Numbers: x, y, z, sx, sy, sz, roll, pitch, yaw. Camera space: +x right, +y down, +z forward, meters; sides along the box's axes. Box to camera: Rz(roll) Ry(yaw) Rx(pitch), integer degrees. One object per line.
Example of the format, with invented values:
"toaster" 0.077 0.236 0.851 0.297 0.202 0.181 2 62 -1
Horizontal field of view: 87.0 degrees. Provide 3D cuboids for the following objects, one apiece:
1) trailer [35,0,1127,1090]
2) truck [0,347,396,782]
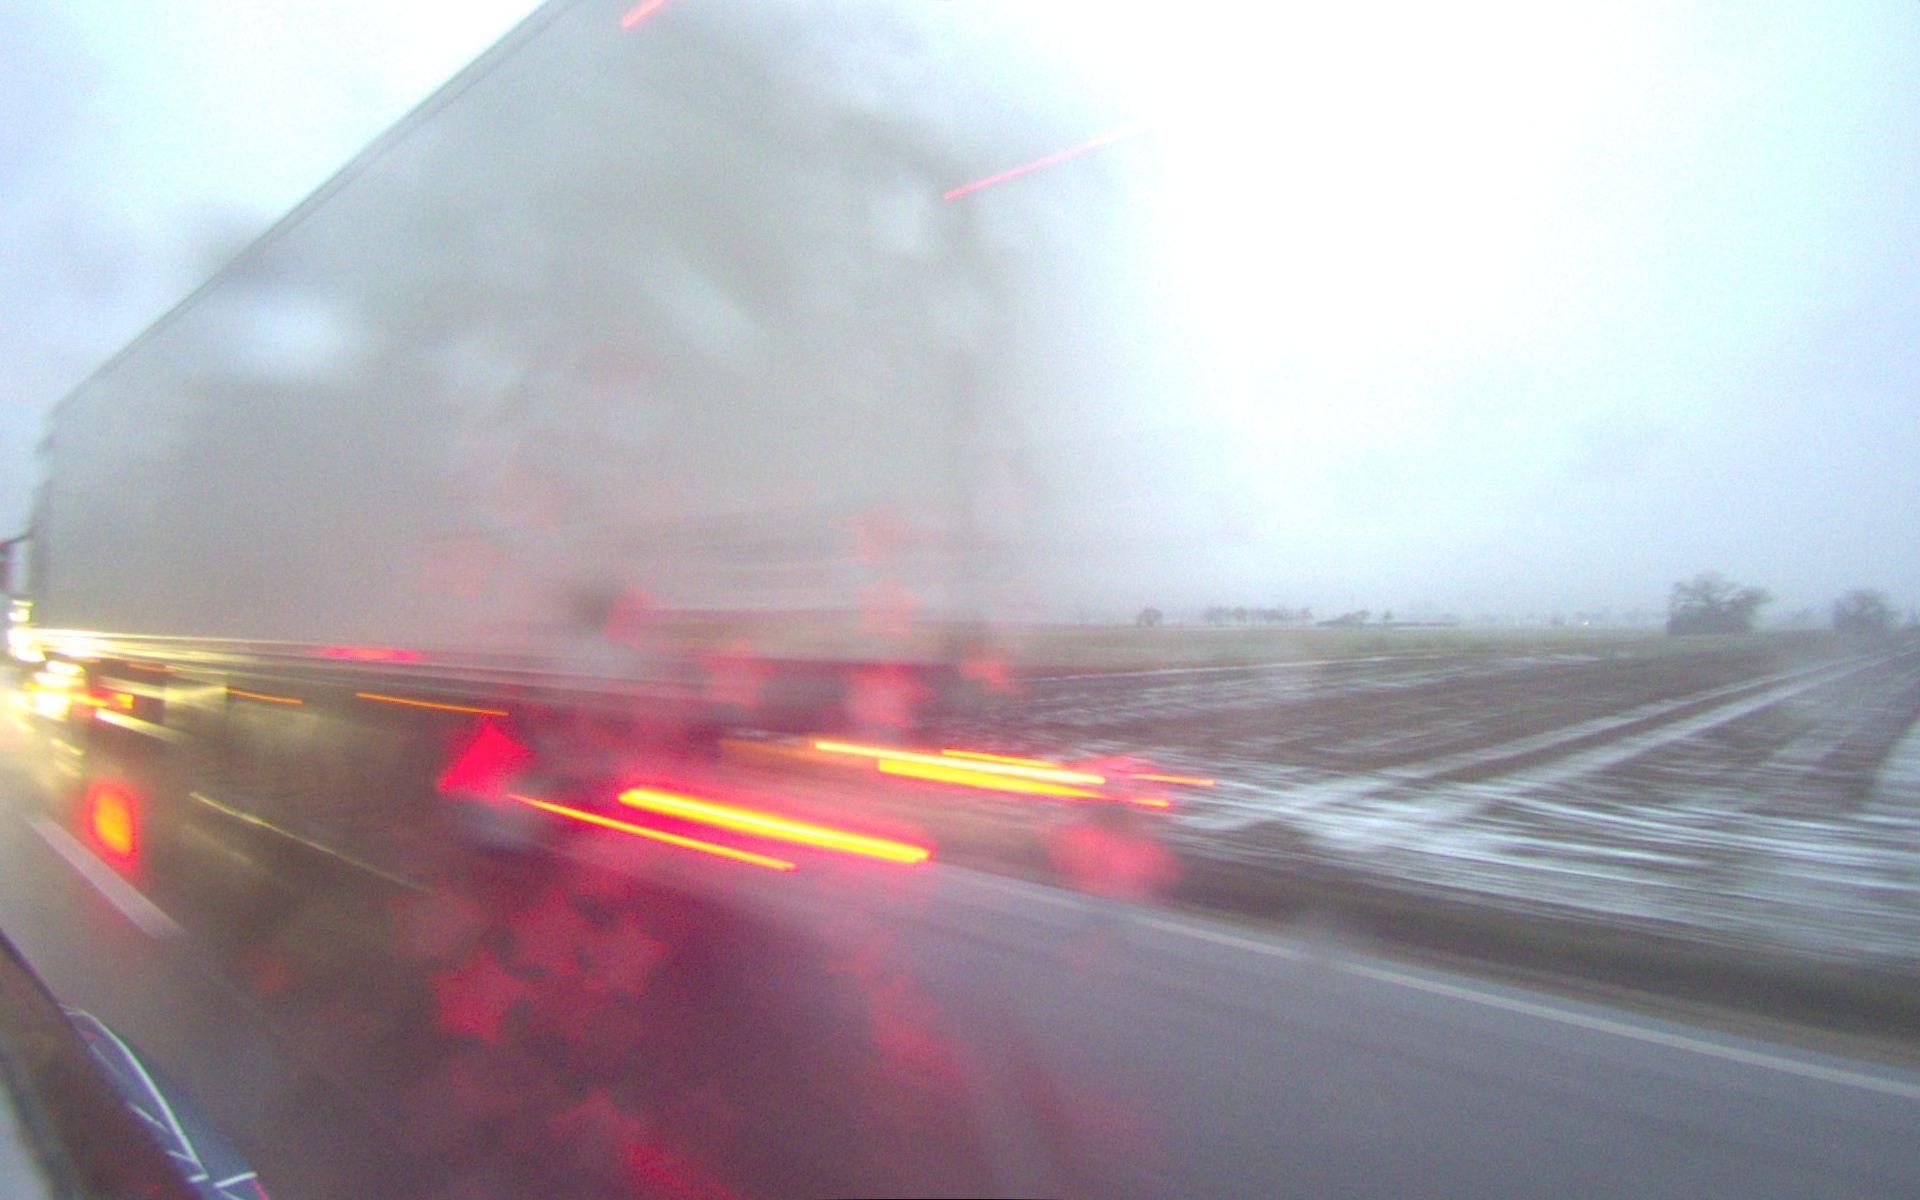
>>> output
"trailer" -4.676 -0.387 8.233 12.373 4.111 2.674 -2 -3 41
"truck" -9.902 -0.237 12.776 6.584 4.137 2.697 -2 -3 41
